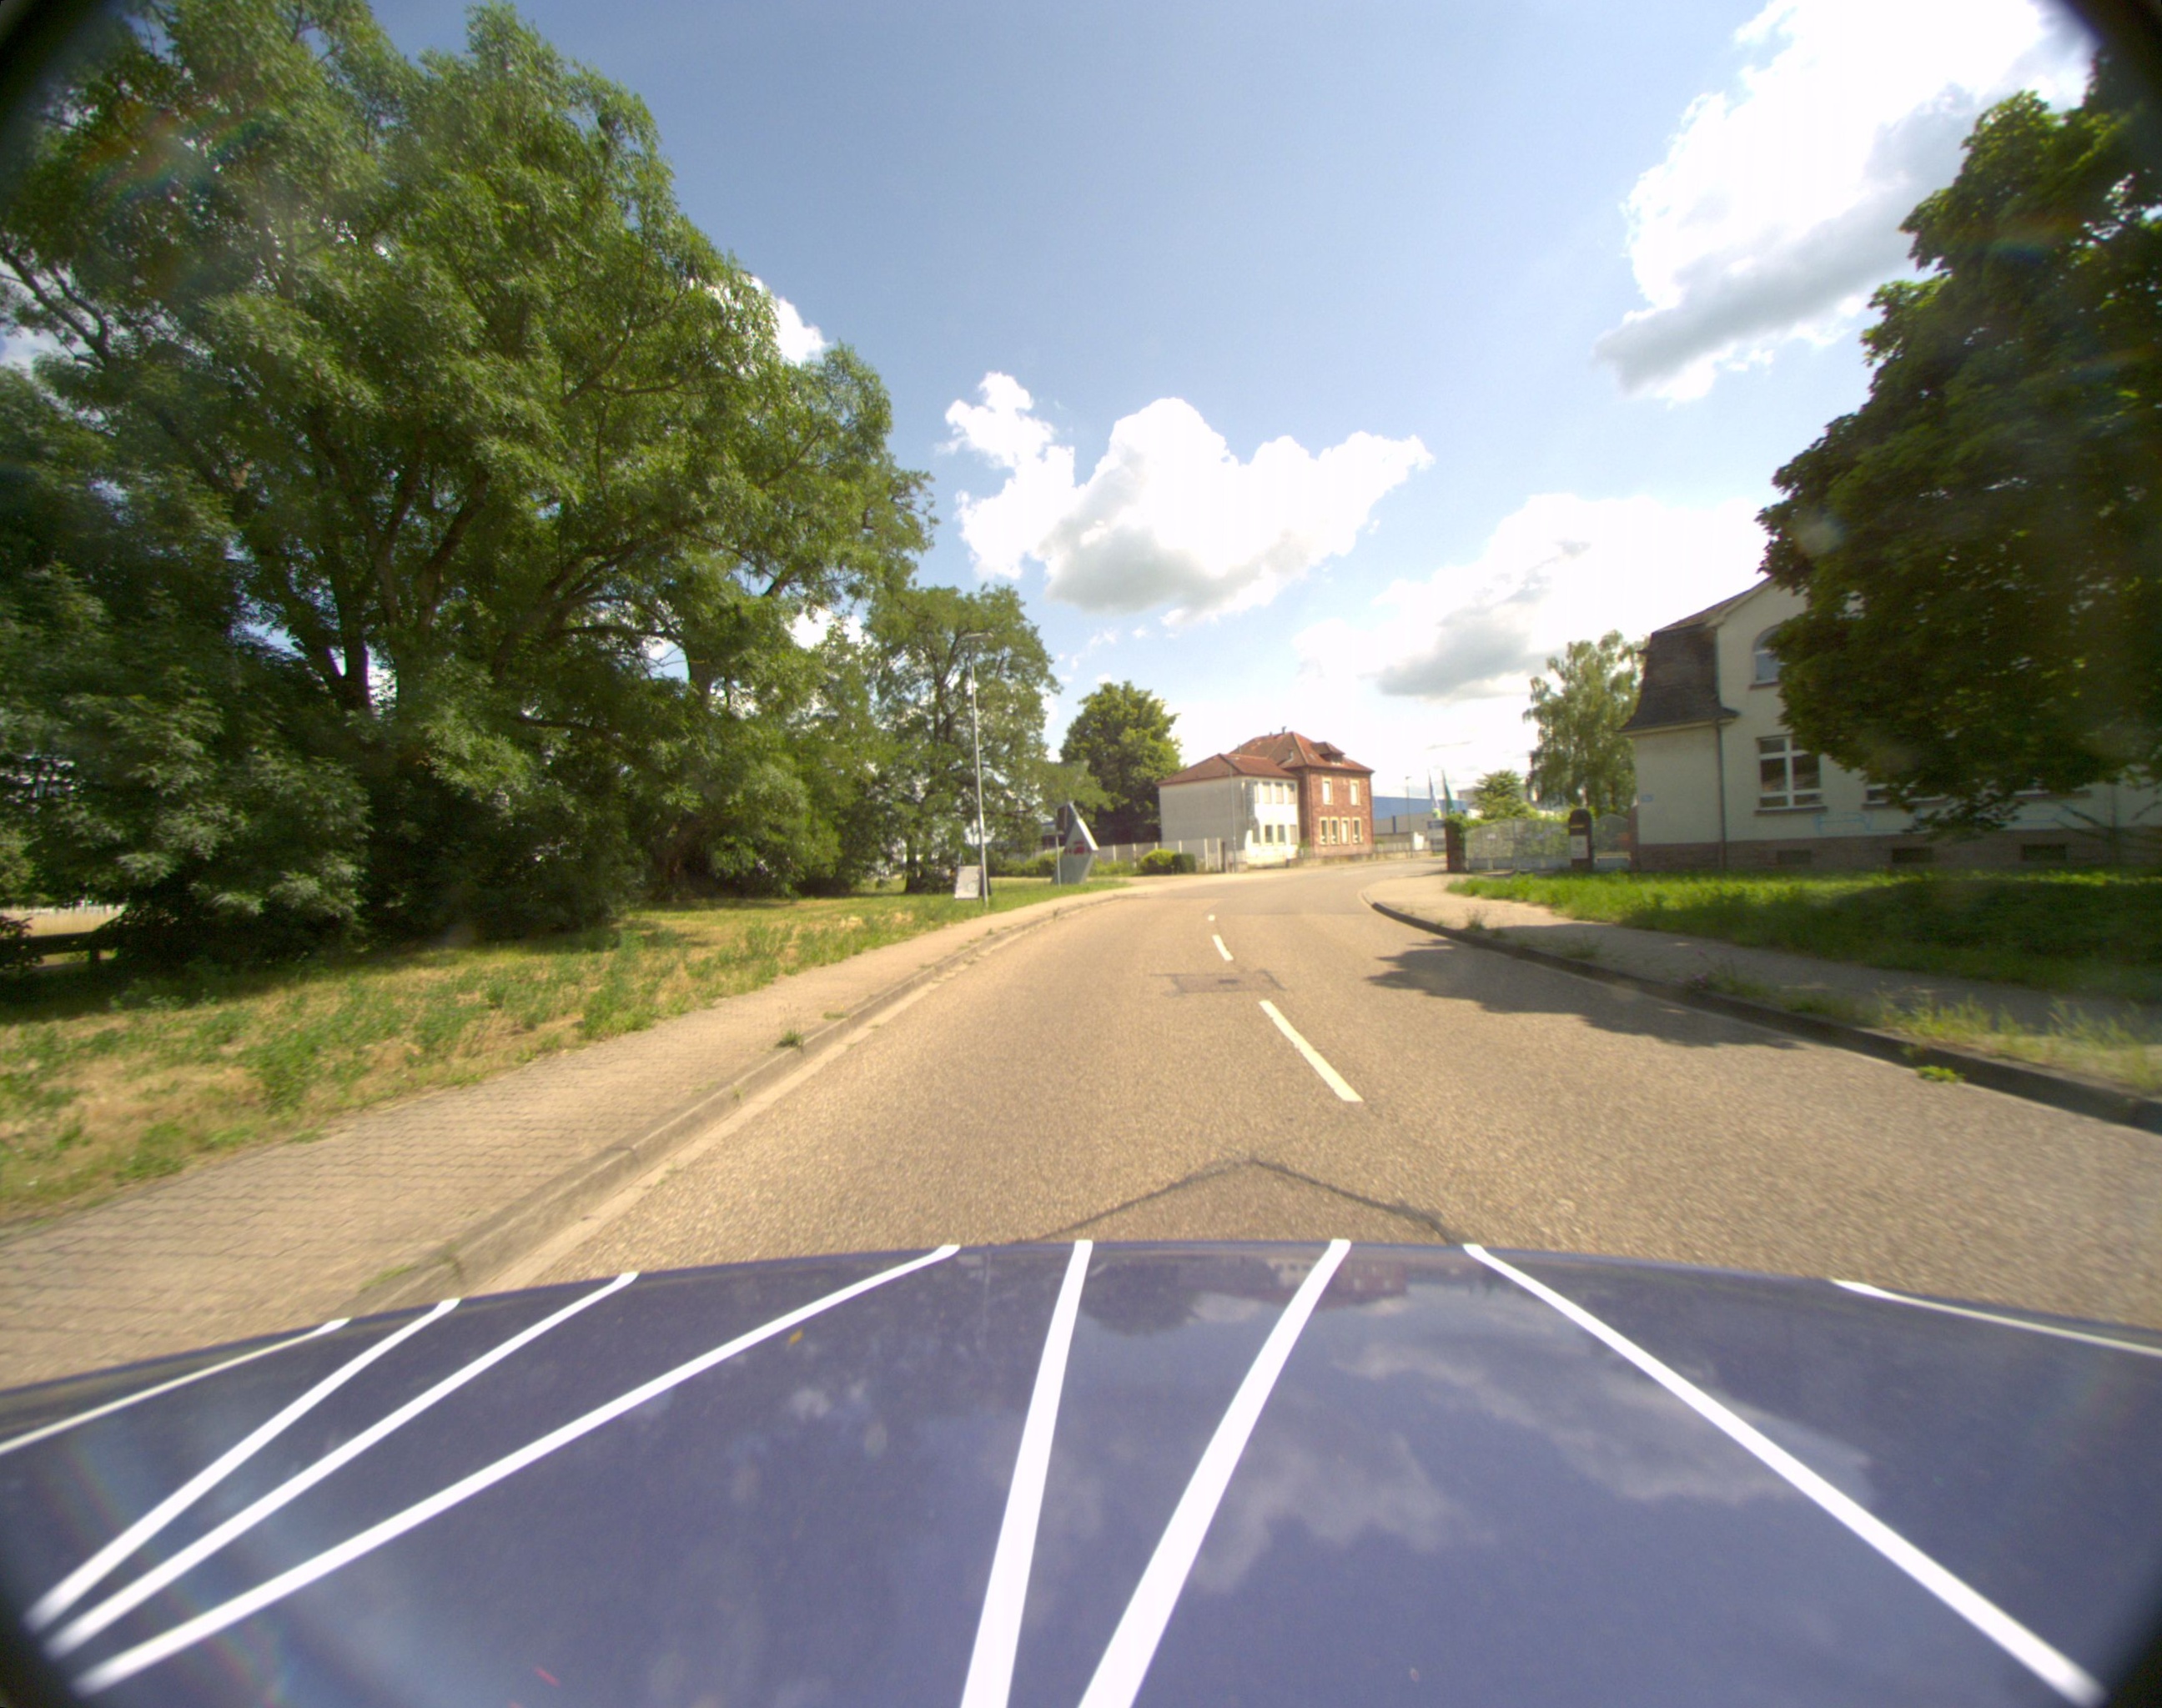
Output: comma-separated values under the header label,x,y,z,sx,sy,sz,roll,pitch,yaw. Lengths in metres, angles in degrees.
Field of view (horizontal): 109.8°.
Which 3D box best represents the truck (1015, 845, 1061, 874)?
label,x,y,z,sx,sy,sz,roll,pitch,yaw
truck,-3.949,0.519,68.897,2.003,2.410,4.732,-2,0,-33
